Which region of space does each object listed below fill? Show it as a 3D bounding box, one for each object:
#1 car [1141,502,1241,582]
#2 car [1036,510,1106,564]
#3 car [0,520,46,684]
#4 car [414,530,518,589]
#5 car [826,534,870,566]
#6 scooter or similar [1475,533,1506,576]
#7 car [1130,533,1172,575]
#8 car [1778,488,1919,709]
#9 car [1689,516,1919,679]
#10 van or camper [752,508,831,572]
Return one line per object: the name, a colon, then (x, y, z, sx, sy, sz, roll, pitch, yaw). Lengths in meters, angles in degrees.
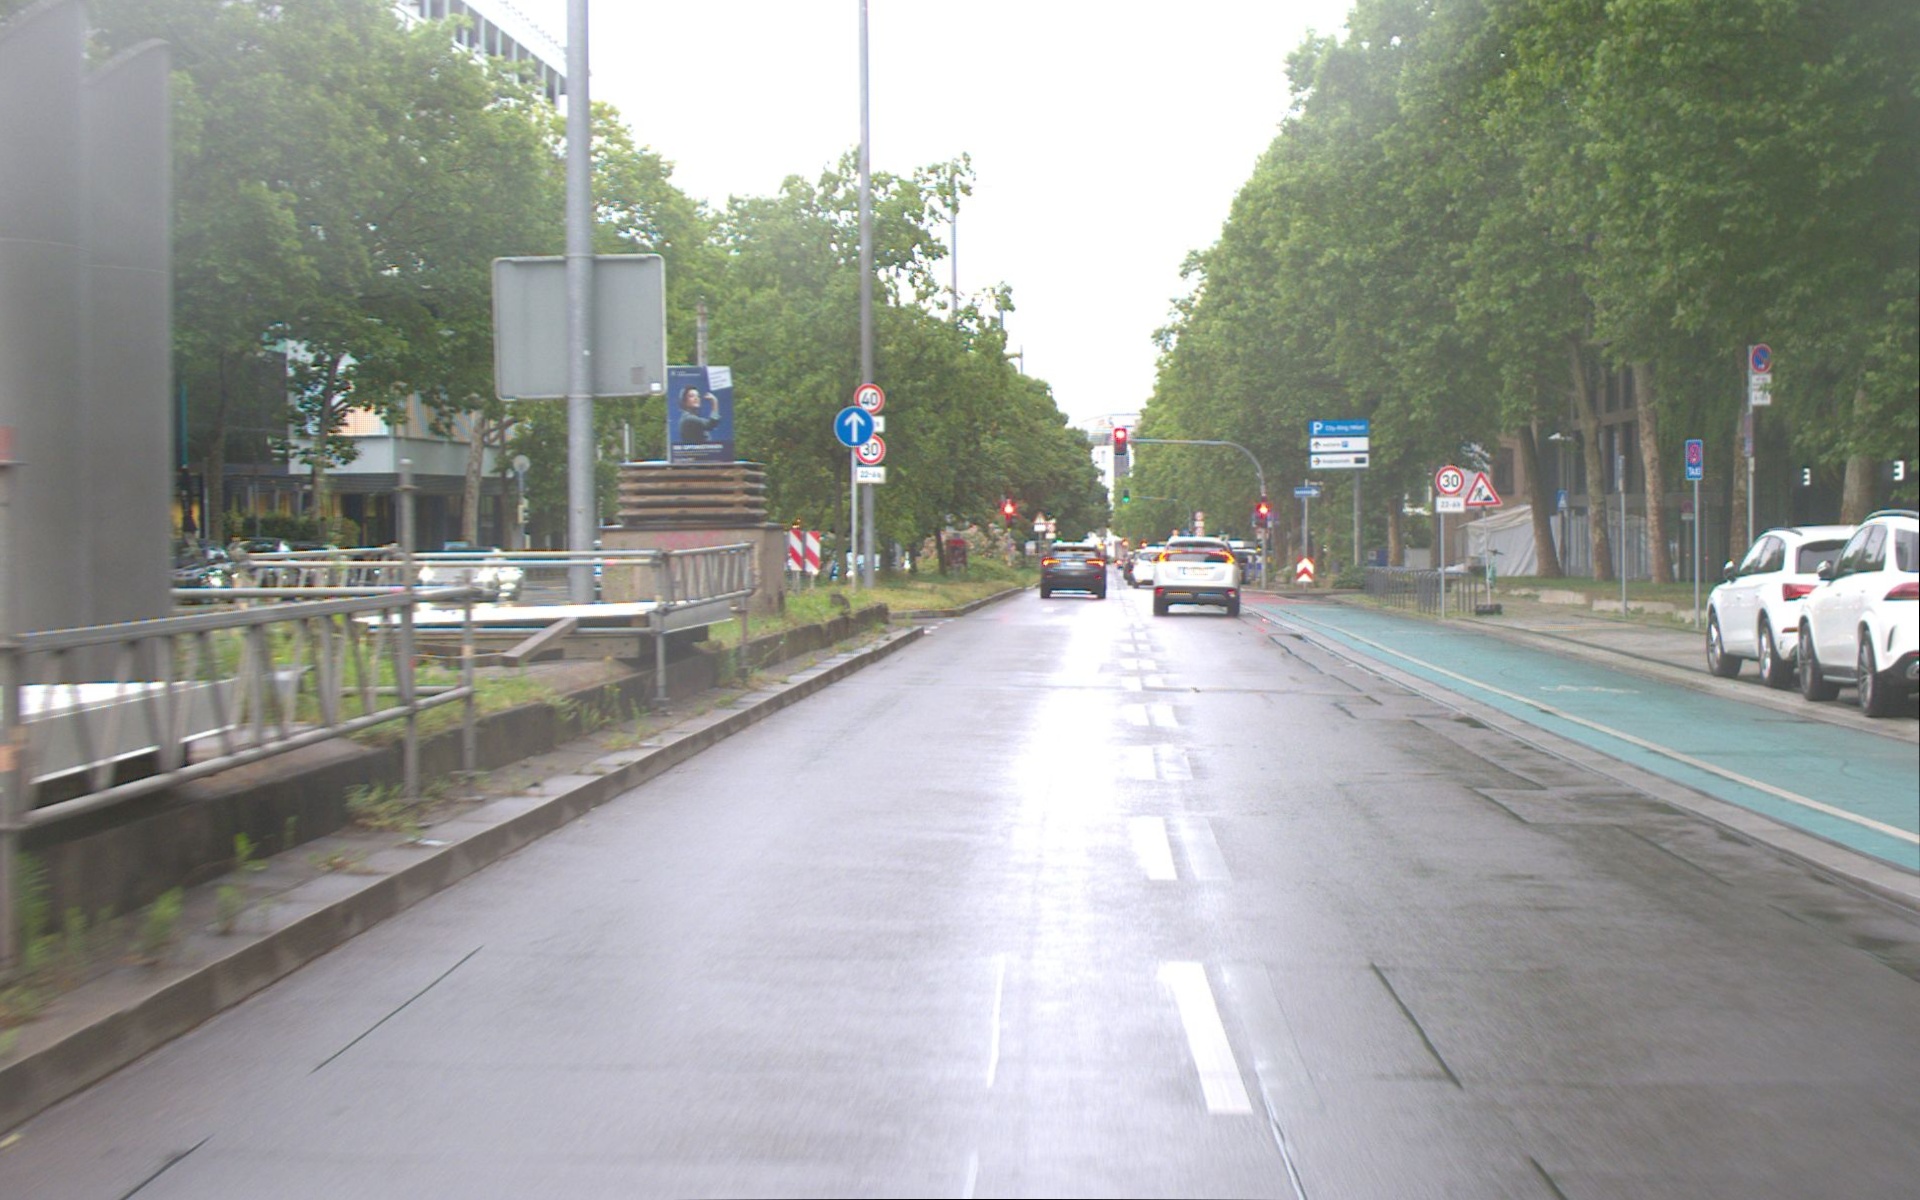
car: (4.923, -1.263, 73.726, 1.993, 1.649, 4.889, 0, 1, 2)
car: (3.136, -1.801, 96.856, 1.918, 1.486, 4.000, 0, 1, 2)
car: (-10.106, 0.044, 31.496, 1.914, 1.547, 4.541, 1, 2, 5)
car: (-12.444, -1.046, 86.858, 1.966, 1.404, 4.957, 0, 2, -1)
car: (-5.331, -2.409, 164.229, 1.843, 1.424, 3.643, 0, 2, 2)
scooter or similar: (15.218, -1.301, 98.695, 0.381, 1.224, 1.077, 1, 1, 39)
car: (7.653, -1.849, 138.214, 1.620, 1.660, 4.000, 0, 1, 2)
car: (8.749, -0.092, 31.053, 1.843, 1.832, 5.093, -1, 2, 4)
car: (9.188, -0.076, 36.904, 1.843, 1.627, 4.786, 0, 1, 2)
van or camper: (-5.192, -1.892, 106.672, 1.993, 1.907, 5.251, 0, 2, 2)
